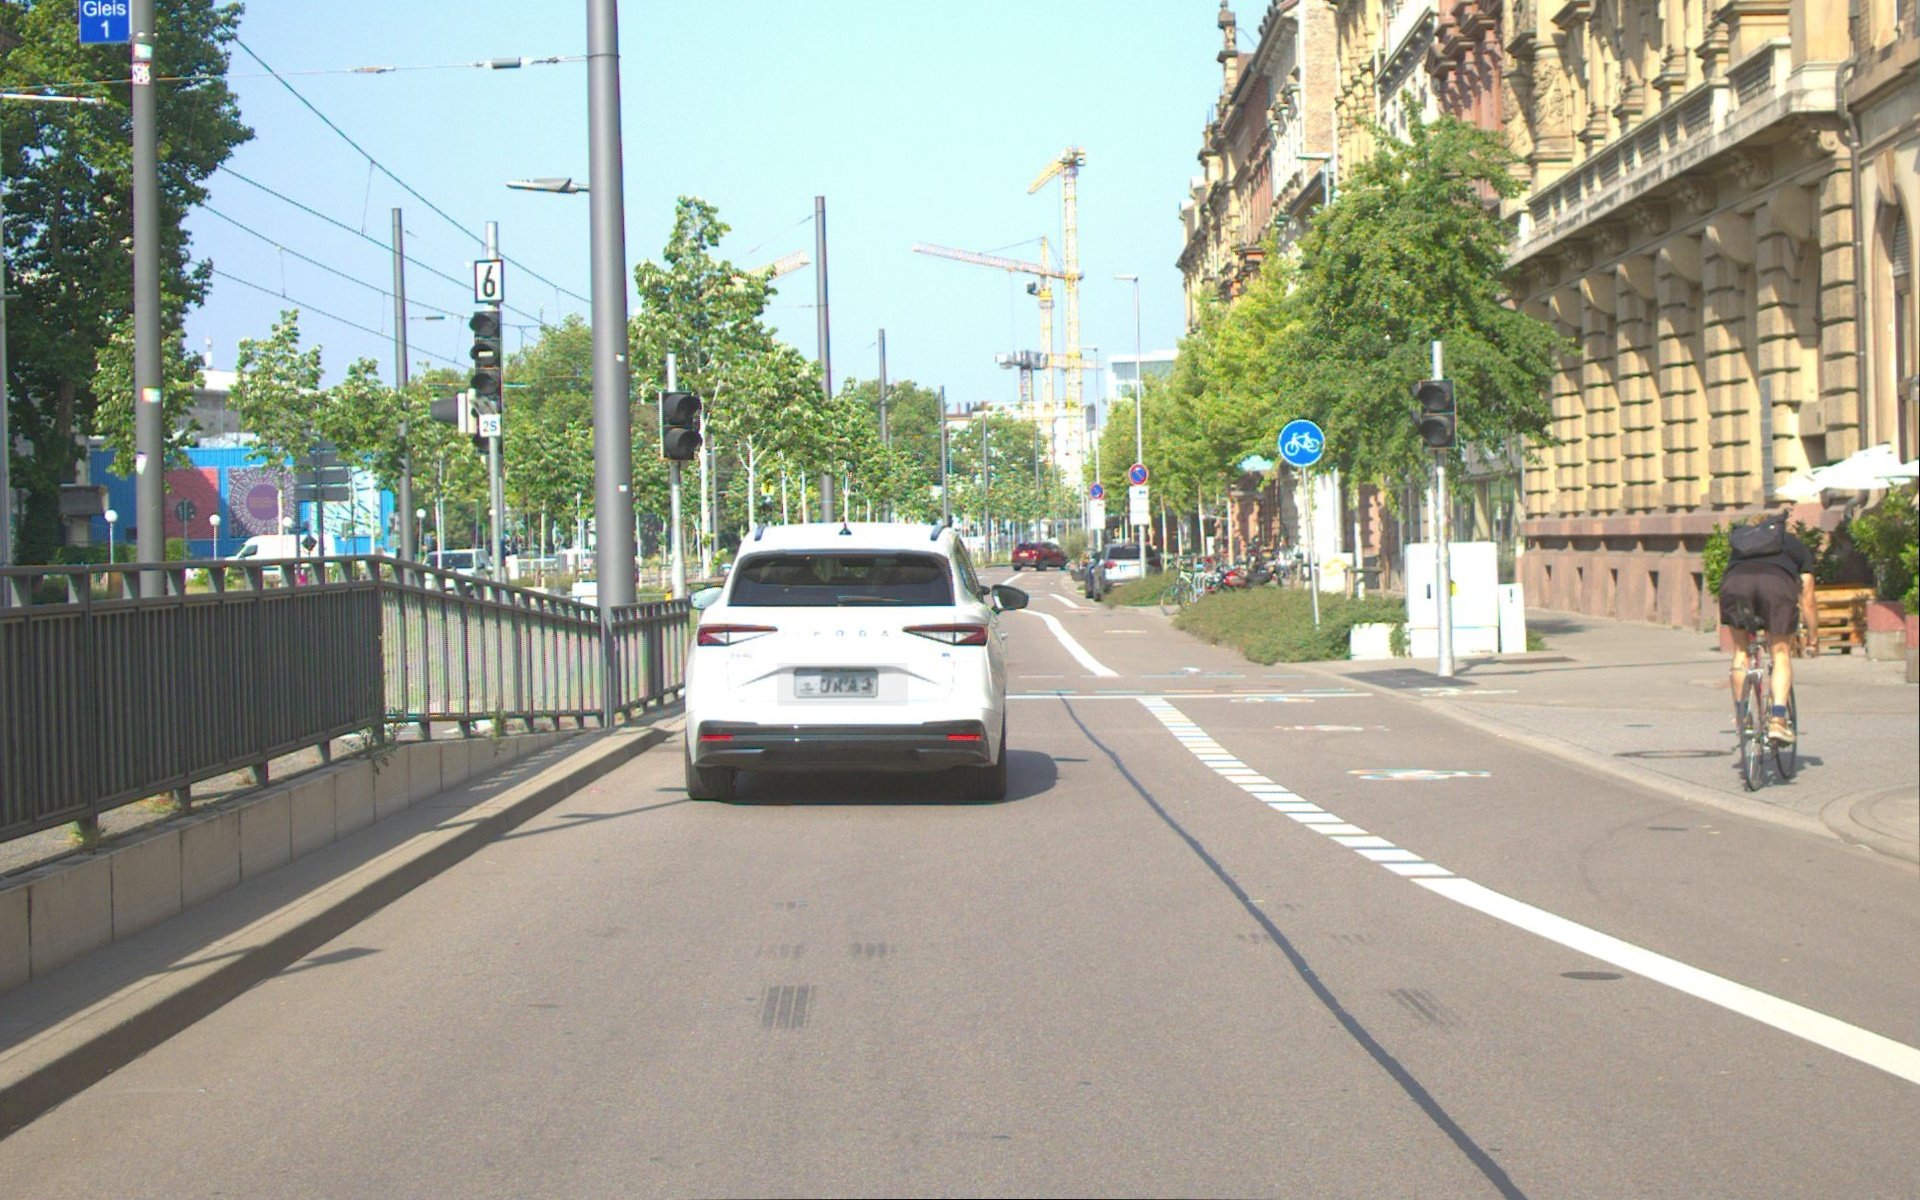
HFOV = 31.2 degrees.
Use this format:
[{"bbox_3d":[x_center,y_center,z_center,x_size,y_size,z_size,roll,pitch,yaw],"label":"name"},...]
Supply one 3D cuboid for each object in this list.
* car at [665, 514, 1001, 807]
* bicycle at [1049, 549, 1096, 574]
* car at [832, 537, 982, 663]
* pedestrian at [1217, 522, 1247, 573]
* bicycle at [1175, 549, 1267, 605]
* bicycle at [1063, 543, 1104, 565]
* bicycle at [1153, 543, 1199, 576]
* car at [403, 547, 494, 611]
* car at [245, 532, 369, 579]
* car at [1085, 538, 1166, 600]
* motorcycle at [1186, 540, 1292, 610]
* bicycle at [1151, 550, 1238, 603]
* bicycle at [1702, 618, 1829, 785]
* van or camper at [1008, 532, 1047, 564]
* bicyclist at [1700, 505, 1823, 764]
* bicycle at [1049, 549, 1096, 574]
[{"bbox_3d":[-0.666,0.293,20.915,1.817,1.584,4.407,0,1,1],"label":"car"},{"bbox_3d":[5.461,-1.868,167.310,2.239,1.100,0.588,-3,1,3],"label":"bicycle"},{"bbox_3d":[-0.613,-0.040,42.920,1.754,1.479,4.407,0,1,1],"label":"car"},{"bbox_3d":[9.311,-1.808,117.572,0.823,1.690,0.793,-3,1,-3],"label":"pedestrian"},{"bbox_3d":[5.509,-0.486,72.679,1.806,1.092,0.672,-3,1,-4],"label":"bicycle"},{"bbox_3d":[6.063,-2.247,168.942,1.934,0.983,0.470,-3,1,3],"label":"bicycle"},{"bbox_3d":[7.292,-1.373,115.835,0.454,1.078,1.873,-2,-1,43],"label":"bicycle"},{"bbox_3d":[-16.194,-0.695,109.140,1.993,1.888,5.046,-1,1,1],"label":"car"},{"bbox_3d":[-38.816,-2.634,204.353,6.872,2.629,2.515,1,1,-20],"label":"car"},{"bbox_3d":[4.572,-0.879,95.359,1.769,1.583,4.248,-3,1,-3],"label":"car"},{"bbox_3d":[5.571,-0.503,68.532,2.035,1.282,0.705,-4,2,-33],"label":"motorcycle"},{"bbox_3d":[5.047,-0.509,74.008,1.784,1.050,0.373,-3,1,0],"label":"bicycle"},{"bbox_3d":[4.802,0.593,20.426,0.506,0.950,1.783,0,-1,21],"label":"bicycle"},{"bbox_3d":[3.631,-2.846,186.516,1.993,1.649,4.000,-2,1,0],"label":"van or camper"},{"bbox_3d":[4.713,0.207,20.194,0.584,1.477,0.930,0,-1,21],"label":"bicyclist"},{"bbox_3d":[5.494,-1.873,167.865,2.239,1.100,0.519,-3,1,3],"label":"bicycle"}]
